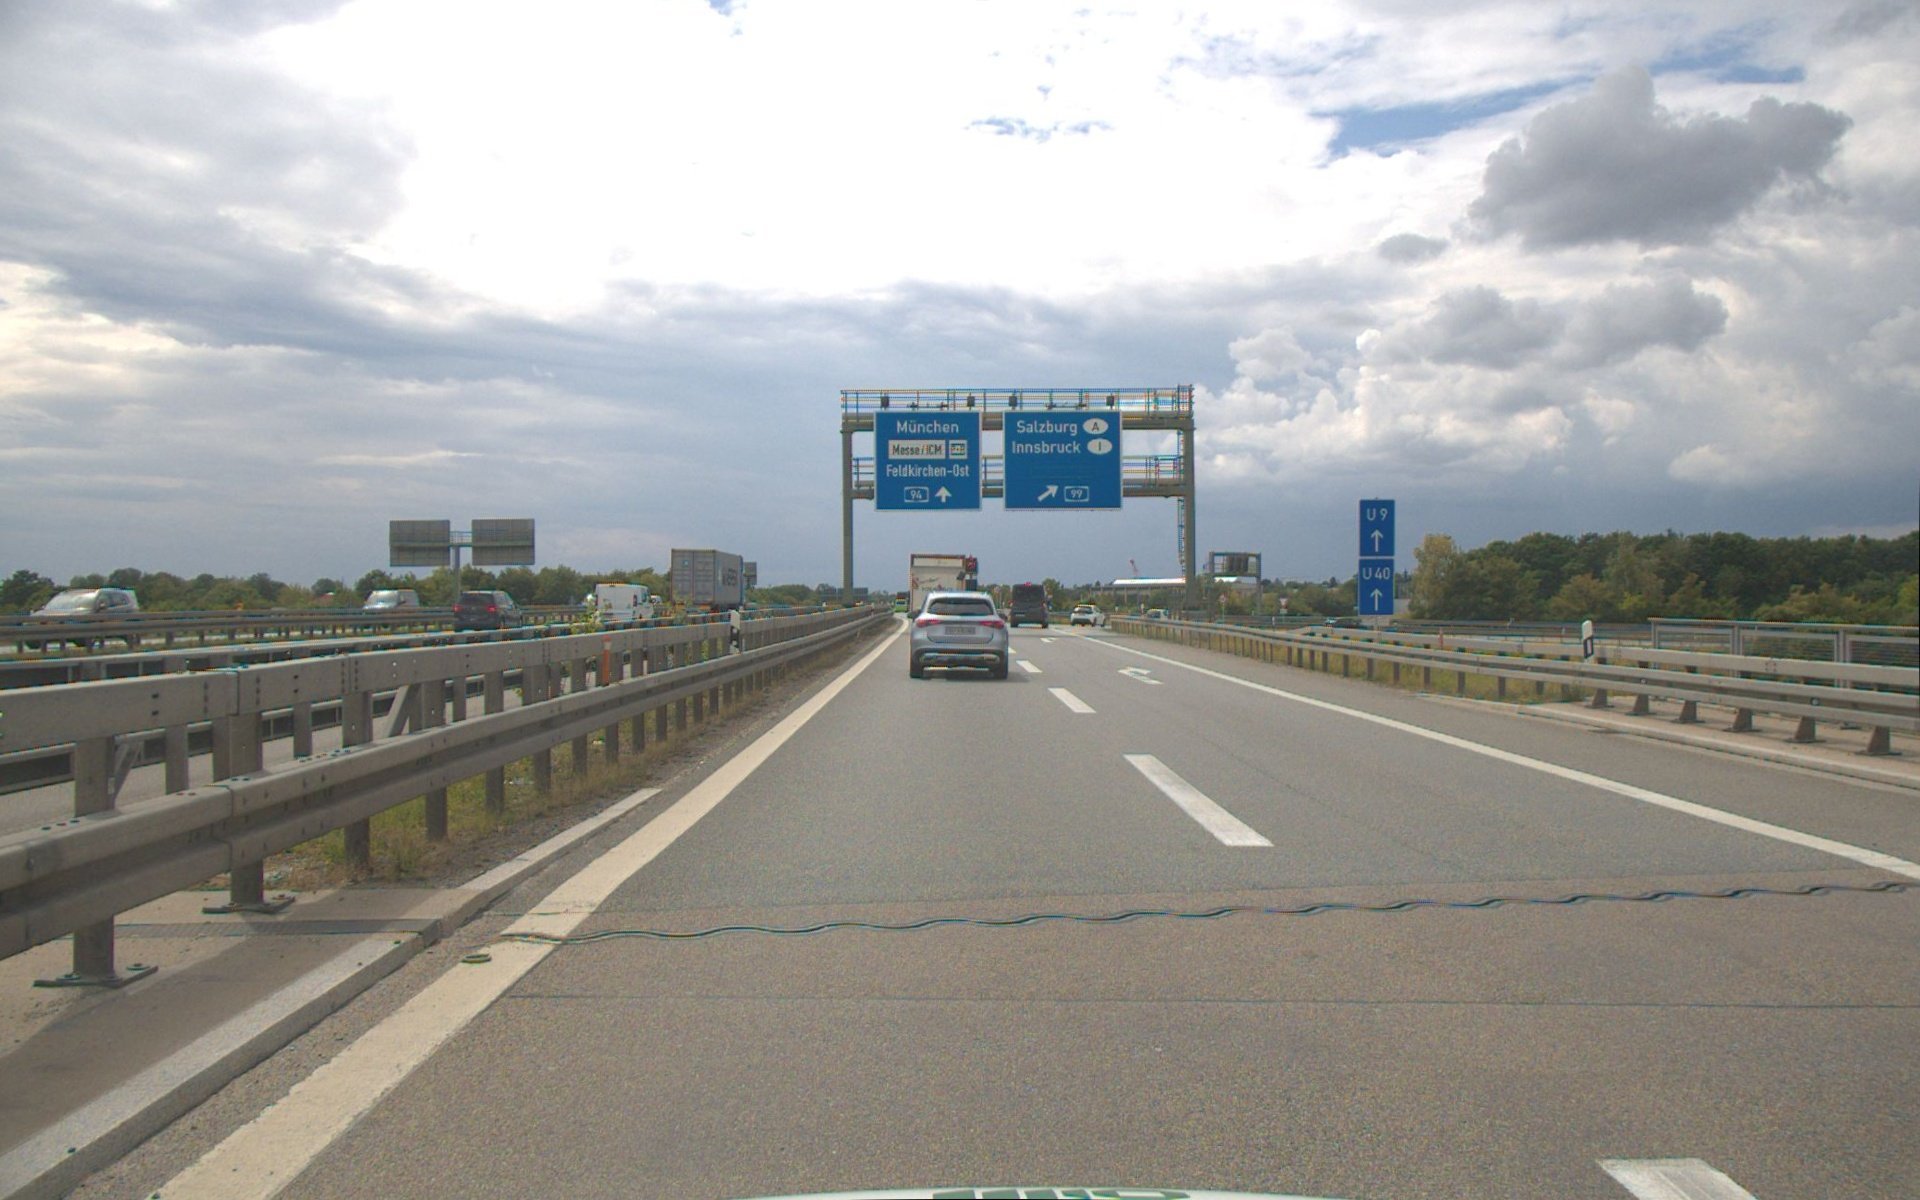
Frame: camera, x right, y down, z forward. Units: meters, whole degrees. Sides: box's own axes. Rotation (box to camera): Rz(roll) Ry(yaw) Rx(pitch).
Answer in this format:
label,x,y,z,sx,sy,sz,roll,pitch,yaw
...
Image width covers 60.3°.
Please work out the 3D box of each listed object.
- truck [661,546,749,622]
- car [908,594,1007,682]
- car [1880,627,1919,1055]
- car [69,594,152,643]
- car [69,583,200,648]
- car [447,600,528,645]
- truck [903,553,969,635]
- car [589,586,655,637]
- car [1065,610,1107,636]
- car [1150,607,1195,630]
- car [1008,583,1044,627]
label,x,y,z,sx,sy,sz,roll,pitch,yaw
truck,-14.779,-0.974,97.192,3.119,4.089,16.070,1,1,-2
car,-0.066,0.699,32.335,1.782,1.541,4.000,1,1,-1
car,3.753,0.781,3.091,1.669,1.303,4.366,1,1,1
car,-43.093,0.916,84.024,1.953,2.346,4.489,1,1,-1
car,-24.750,0.424,49.723,1.871,1.825,4.001,1,1,1
car,-17.964,0.823,63.062,1.843,1.573,4.614,1,1,-1
truck,-0.995,-0.197,68.962,2.516,3.181,8.632,1,-1,-1
car,-14.459,0.466,71.054,1.953,2.049,4.374,1,1,-1
car,8.969,1.618,117.618,1.952,1.739,4.000,1,1,21
car,16.910,1.436,131.564,1.958,1.739,3.989,1,1,33
car,3.590,0.221,90.077,1.867,2.301,4.651,1,1,2
